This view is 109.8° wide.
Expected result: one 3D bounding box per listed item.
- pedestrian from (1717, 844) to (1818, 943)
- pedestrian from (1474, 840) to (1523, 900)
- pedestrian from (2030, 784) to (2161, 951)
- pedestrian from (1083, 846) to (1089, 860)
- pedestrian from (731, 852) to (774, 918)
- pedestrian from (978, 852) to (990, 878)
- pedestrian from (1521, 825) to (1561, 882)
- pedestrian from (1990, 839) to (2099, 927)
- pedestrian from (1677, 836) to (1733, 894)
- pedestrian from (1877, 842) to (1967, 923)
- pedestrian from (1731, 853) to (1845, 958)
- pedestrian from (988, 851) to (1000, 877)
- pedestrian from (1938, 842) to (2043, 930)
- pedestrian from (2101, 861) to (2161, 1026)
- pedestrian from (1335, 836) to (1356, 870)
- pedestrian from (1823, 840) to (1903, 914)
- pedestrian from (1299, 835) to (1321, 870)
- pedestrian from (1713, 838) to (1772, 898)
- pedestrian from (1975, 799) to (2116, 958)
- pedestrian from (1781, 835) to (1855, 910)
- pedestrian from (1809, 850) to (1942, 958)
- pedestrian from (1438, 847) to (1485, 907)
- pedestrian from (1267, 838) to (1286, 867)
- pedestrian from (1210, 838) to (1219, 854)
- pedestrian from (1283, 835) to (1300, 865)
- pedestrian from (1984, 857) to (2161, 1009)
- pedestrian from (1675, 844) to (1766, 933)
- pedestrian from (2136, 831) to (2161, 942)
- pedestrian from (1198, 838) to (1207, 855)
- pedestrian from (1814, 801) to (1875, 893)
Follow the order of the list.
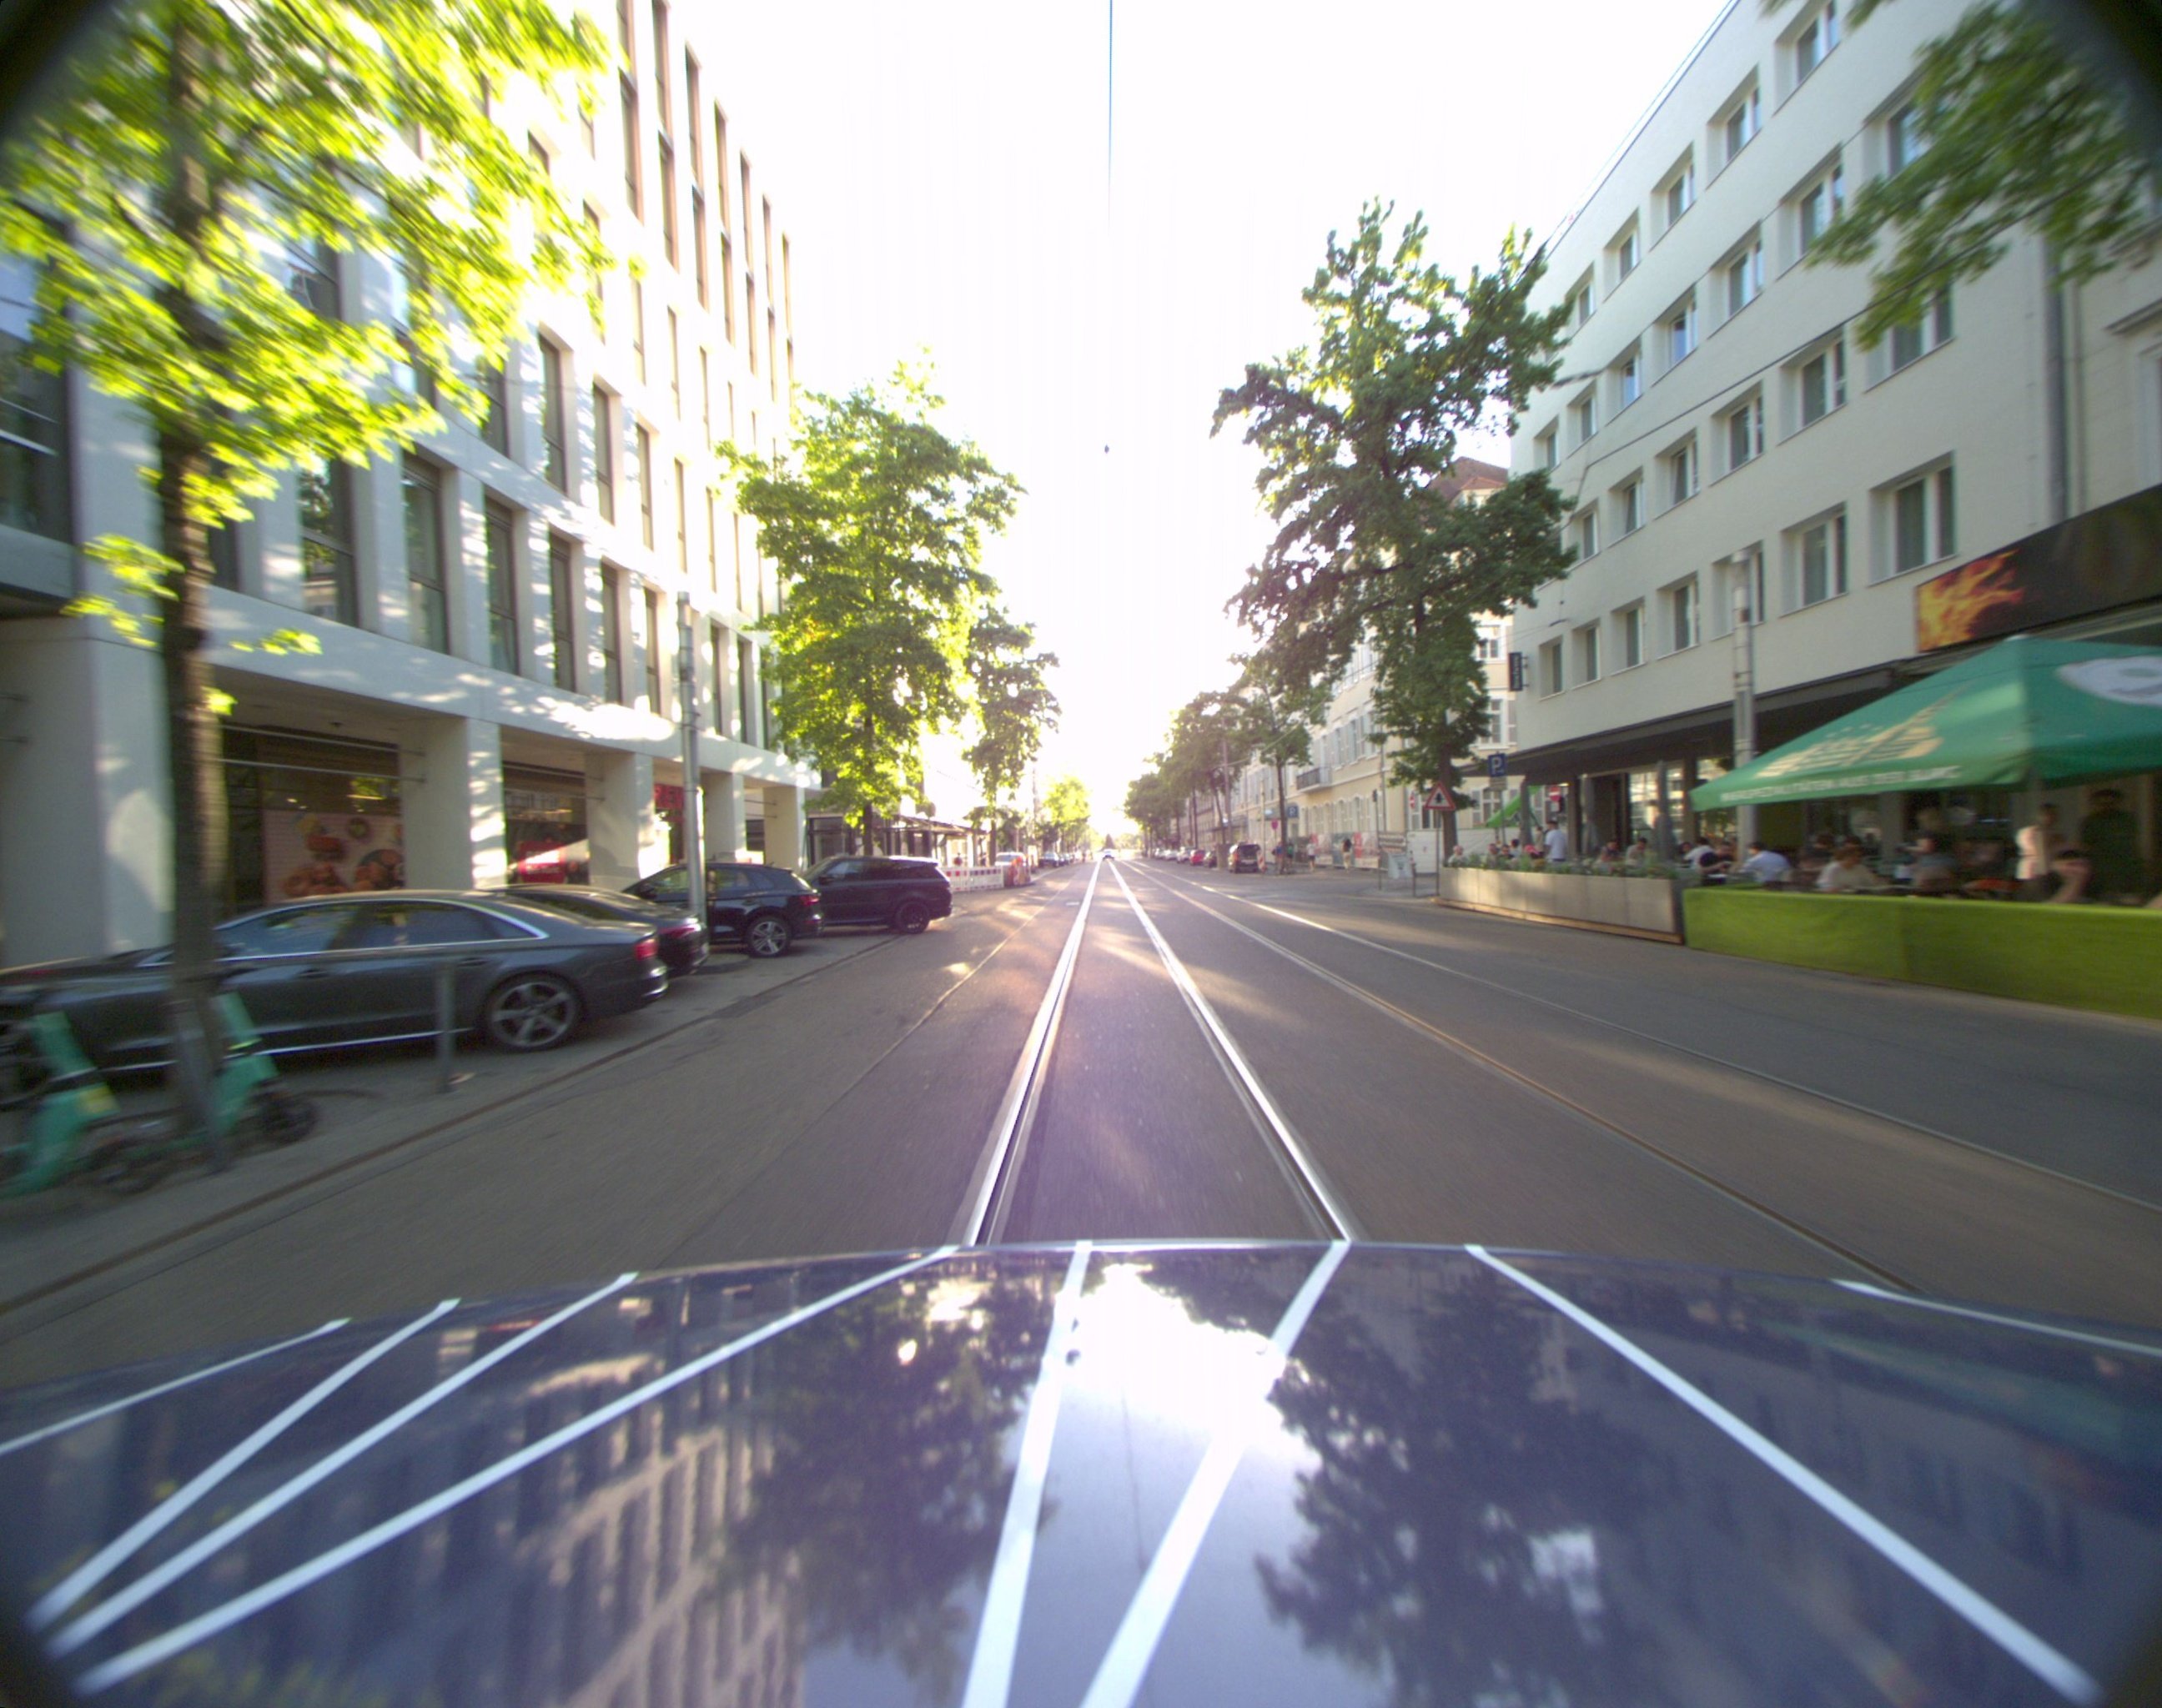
[{"bbox_3d":[9.899,0.549,10.986,0.709,1.339,0.781,-4,1,4],"label":"pedestrian"},{"bbox_3d":[10.048,0.380,18.311,0.691,1.378,0.807,-4,1,3],"label":"pedestrian"},{"bbox_3d":[11.404,0.140,8.476,0.679,1.747,0.697,-4,1,3],"label":"pedestrian"},{"bbox_3d":[0.740,-0.167,107.659,0.705,1.858,0.792,-2,1,0],"label":"pedestrian"},{"bbox_3d":[-9.289,0.851,21.495,0.754,1.808,0.804,2,3,35],"label":"pedestrian"},{"bbox_3d":[-6.947,0.758,54.334,0.689,1.820,0.635,-2,1,1],"label":"pedestrian"},{"bbox_3d":[14.411,-0.016,23.825,0.864,1.730,0.799,-2,0,21],"label":"pedestrian"},{"bbox_3d":[13.439,0.386,10.620,0.603,1.151,0.687,-4,1,2],"label":"pedestrian"},{"bbox_3d":[12.979,0.216,15.807,0.553,1.155,0.687,-4,1,2],"label":"pedestrian"},{"bbox_3d":[12.770,0.416,11.553,0.553,1.155,0.687,-4,1,2],"label":"pedestrian"},{"bbox_3d":[9.105,0.638,9.823,0.709,1.252,0.772,-4,1,4],"label":"pedestrian"},{"bbox_3d":[-6.238,0.699,54.428,0.707,1.820,0.635,-2,1,1],"label":"pedestrian"},{"bbox_3d":[12.744,0.433,10.663,0.603,1.167,0.687,-4,1,2],"label":"pedestrian"},{"bbox_3d":[8.647,0.694,5.834,0.620,1.238,0.697,-5,1,1],"label":"pedestrian"},{"bbox_3d":[13.020,-0.060,37.407,0.708,1.646,0.967,-2,0,3],"label":"pedestrian"},{"bbox_3d":[12.860,0.362,12.515,0.553,1.155,0.687,-4,1,2],"label":"pedestrian"},{"bbox_3d":[12.156,-0.093,40.302,0.776,1.782,0.984,-5,1,3],"label":"pedestrian"},{"bbox_3d":[13.535,0.277,15.555,0.553,1.155,0.687,-4,1,2],"label":"pedestrian"},{"bbox_3d":[10.702,0.258,8.456,0.620,1.661,0.697,-4,1,1],"label":"pedestrian"},{"bbox_3d":[13.208,0.322,13.627,0.603,1.291,0.687,-4,1,2],"label":"pedestrian"},{"bbox_3d":[9.906,0.597,9.507,0.709,1.252,0.869,-4,1,4],"label":"pedestrian"},{"bbox_3d":[9.115,0.532,18.227,0.691,1.378,0.807,-4,1,3],"label":"pedestrian"},{"bbox_3d":[12.249,-0.101,47.584,0.867,1.771,0.884,-5,1,1],"label":"pedestrian"},{"bbox_3d":[14.109,-0.842,80.178,0.746,1.571,0.933,-5,1,2],"label":"pedestrian"},{"bbox_3d":[13.099,-0.251,47.361,0.721,1.802,0.876,-5,1,1],"label":"pedestrian"},{"bbox_3d":[8.870,0.675,6.820,0.620,1.238,0.697,-5,1,1],"label":"pedestrian"},{"bbox_3d":[9.958,0.514,11.860,0.691,1.304,0.807,-4,1,3],"label":"pedestrian"},{"bbox_3d":[12.434,0.350,8.293,0.671,1.235,0.799,-4,1,1],"label":"pedestrian"},{"bbox_3d":[12.813,-0.776,80.272,0.746,1.733,0.933,-5,1,2],"label":"pedestrian"},{"bbox_3d":[15.565,-0.139,15.508,0.764,1.809,0.688,-3,1,41],"label":"pedestrian"}]
